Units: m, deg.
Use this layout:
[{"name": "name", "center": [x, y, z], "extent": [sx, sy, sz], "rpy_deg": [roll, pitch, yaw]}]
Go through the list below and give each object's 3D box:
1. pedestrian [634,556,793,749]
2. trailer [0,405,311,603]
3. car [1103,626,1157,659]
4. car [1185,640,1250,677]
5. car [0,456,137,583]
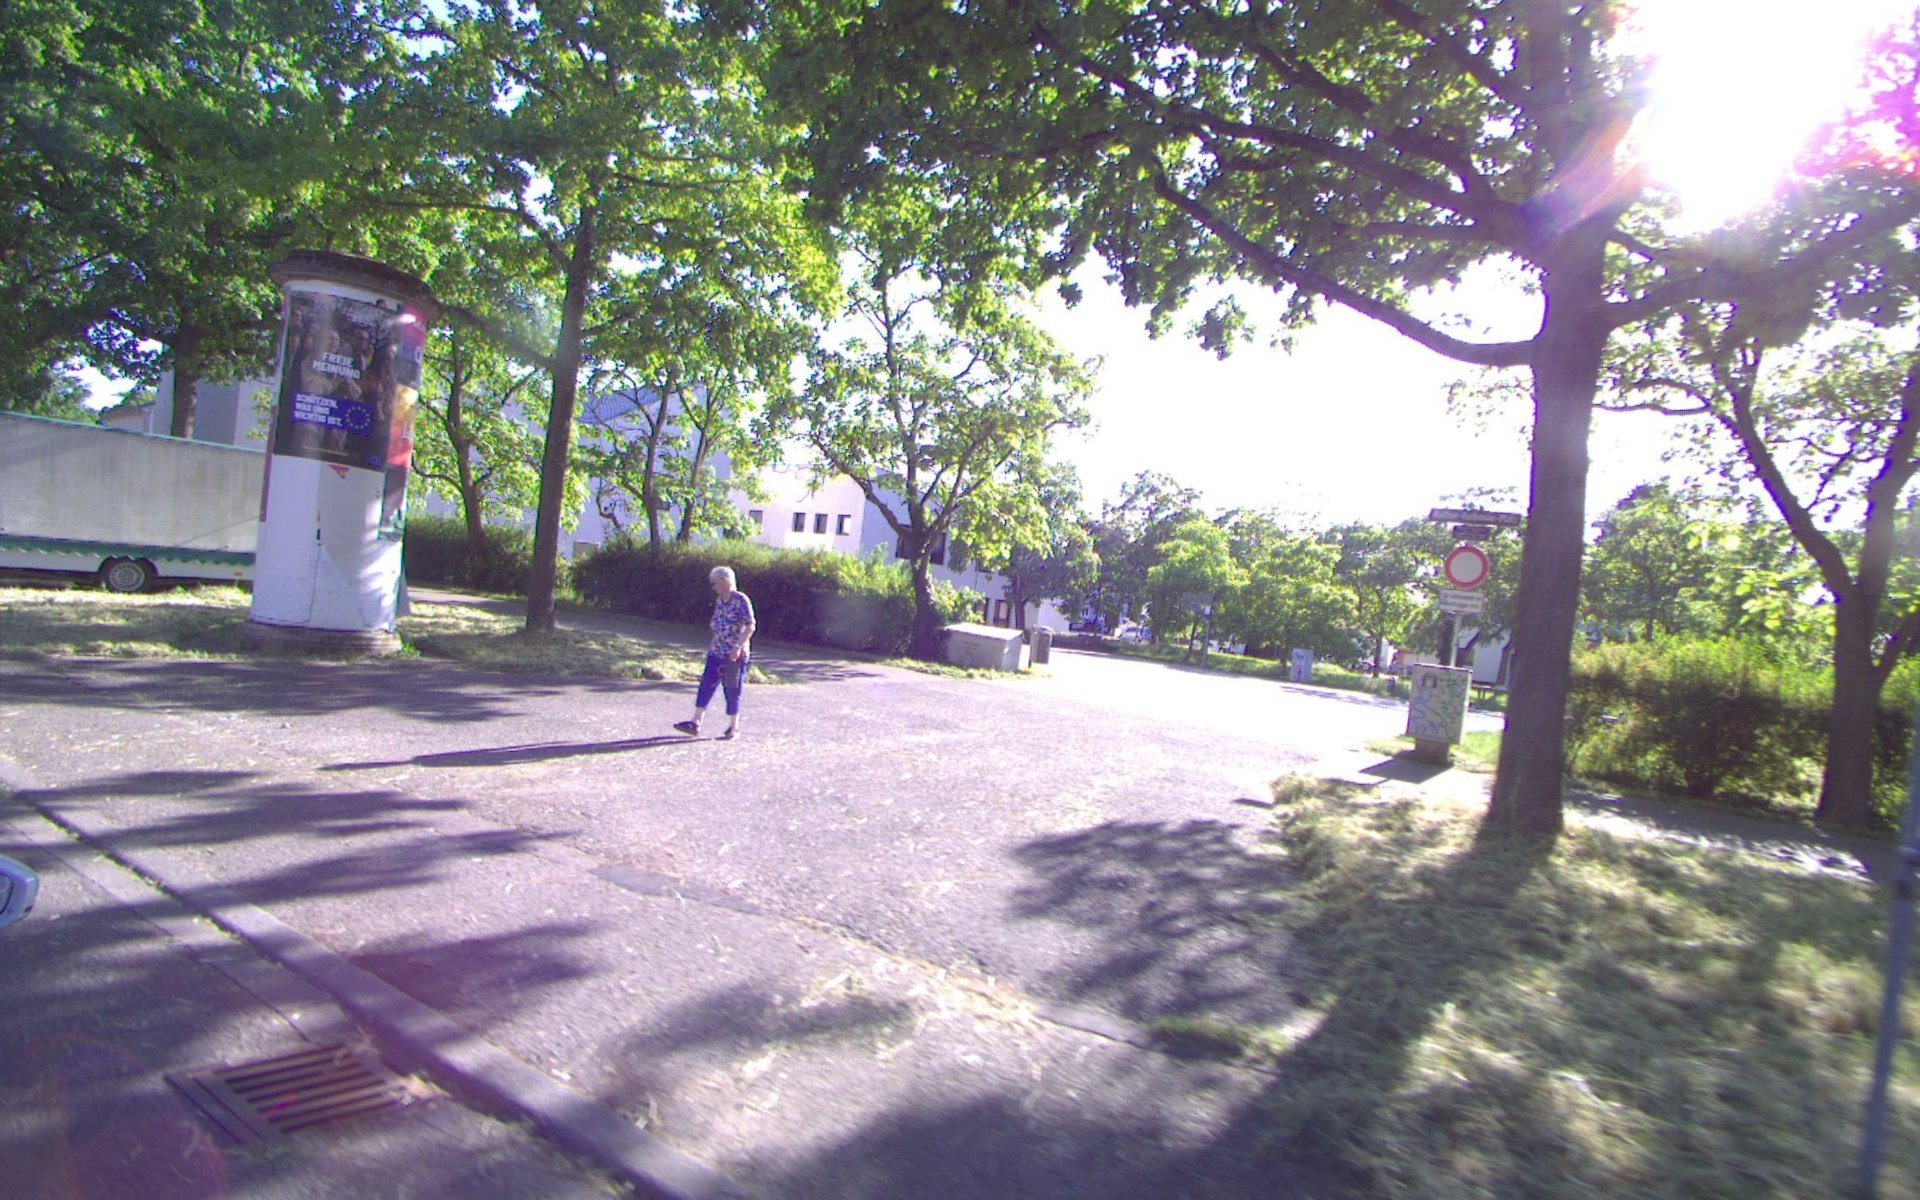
[{"name": "pedestrian", "center": [-2.170, 0.443, 8.947], "extent": [0.868, 1.520, 0.943], "rpy_deg": [7, 2, 18]}, {"name": "trailer", "center": [-12.379, -1.315, 13.608], "extent": [1.658, 2.348, 5.774], "rpy_deg": [7, 2, 33]}, {"name": "car", "center": [16.920, 4.205, 100.403], "extent": [2.321, 2.641, 5.431], "rpy_deg": [7, -1, -27]}, {"name": "car", "center": [22.688, 5.128, 88.926], "extent": [2.321, 2.641, 5.431], "rpy_deg": [7, -1, -27]}, {"name": "car", "center": [-15.085, -1.326, 14.423], "extent": [1.955, 1.745, 4.643], "rpy_deg": [7, 2, 32]}]
